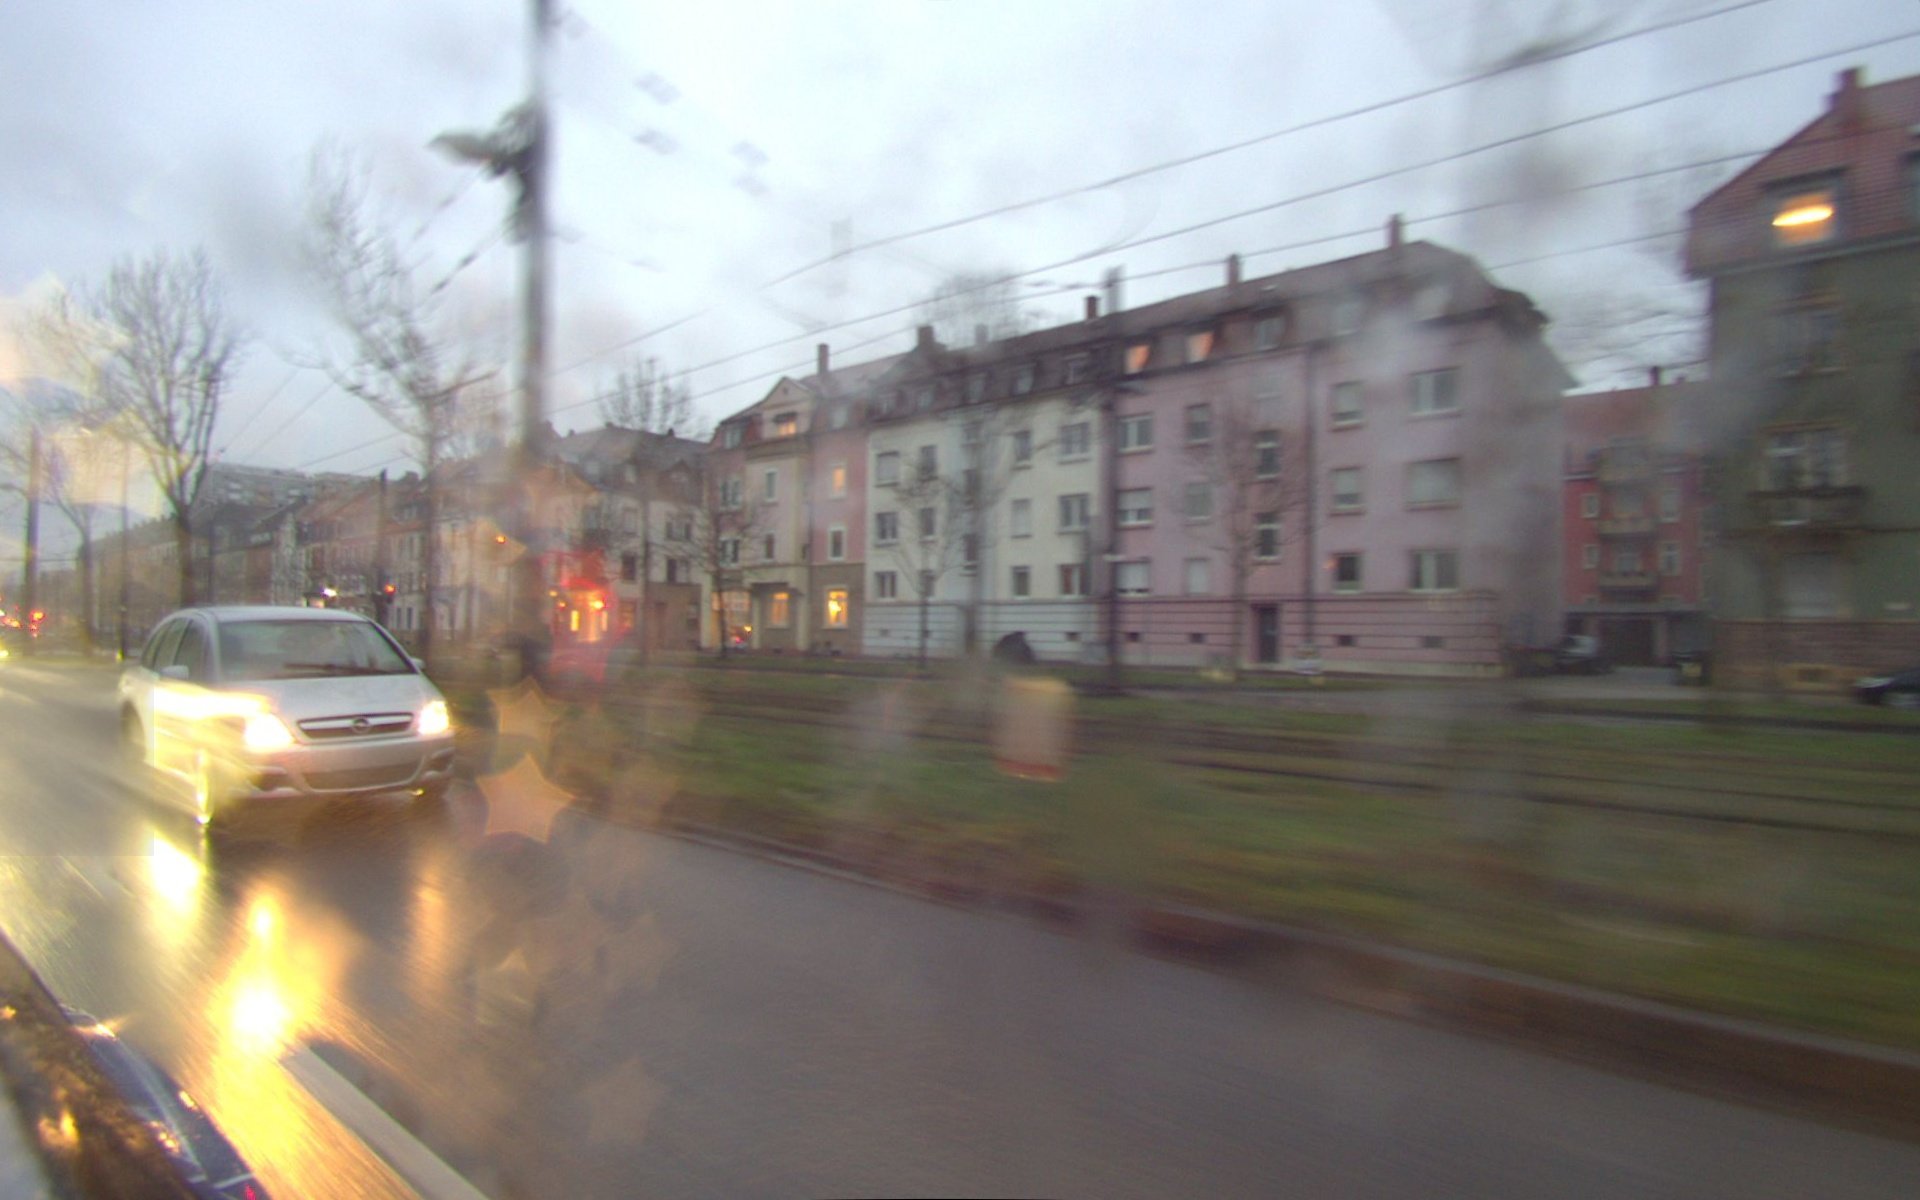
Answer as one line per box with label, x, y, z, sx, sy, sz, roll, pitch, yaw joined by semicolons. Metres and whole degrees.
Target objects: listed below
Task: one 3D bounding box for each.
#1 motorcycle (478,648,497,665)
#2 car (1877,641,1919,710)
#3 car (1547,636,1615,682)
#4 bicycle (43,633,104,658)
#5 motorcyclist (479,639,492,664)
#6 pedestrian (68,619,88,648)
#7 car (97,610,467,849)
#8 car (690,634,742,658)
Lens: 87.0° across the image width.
motorcycle;-20.560;2.440;44.035;0.416;0.688;1.177;0;-1;-42
car;21.005;1.547;20.239;3.911;1.350;1.449;-1;-1;44
car;23.662;2.209;38.521;1.611;1.555;3.317;-1;-1;42
bicycle;-35.307;1.818;40.328;0.733;0.905;1.703;0;-4;41
motorcyclist;-20.721;2.248;44.200;0.410;1.069;0.346;0;-1;-42
pedestrian;-35.225;1.326;40.423;0.582;1.165;0.555;-1;-1;43
car;-5.777;0.865;8.438;3.905;1.531;1.617;-1;-1;41
car;-18.672;3.473;77.502;3.542;1.708;1.732;0;-1;-44
